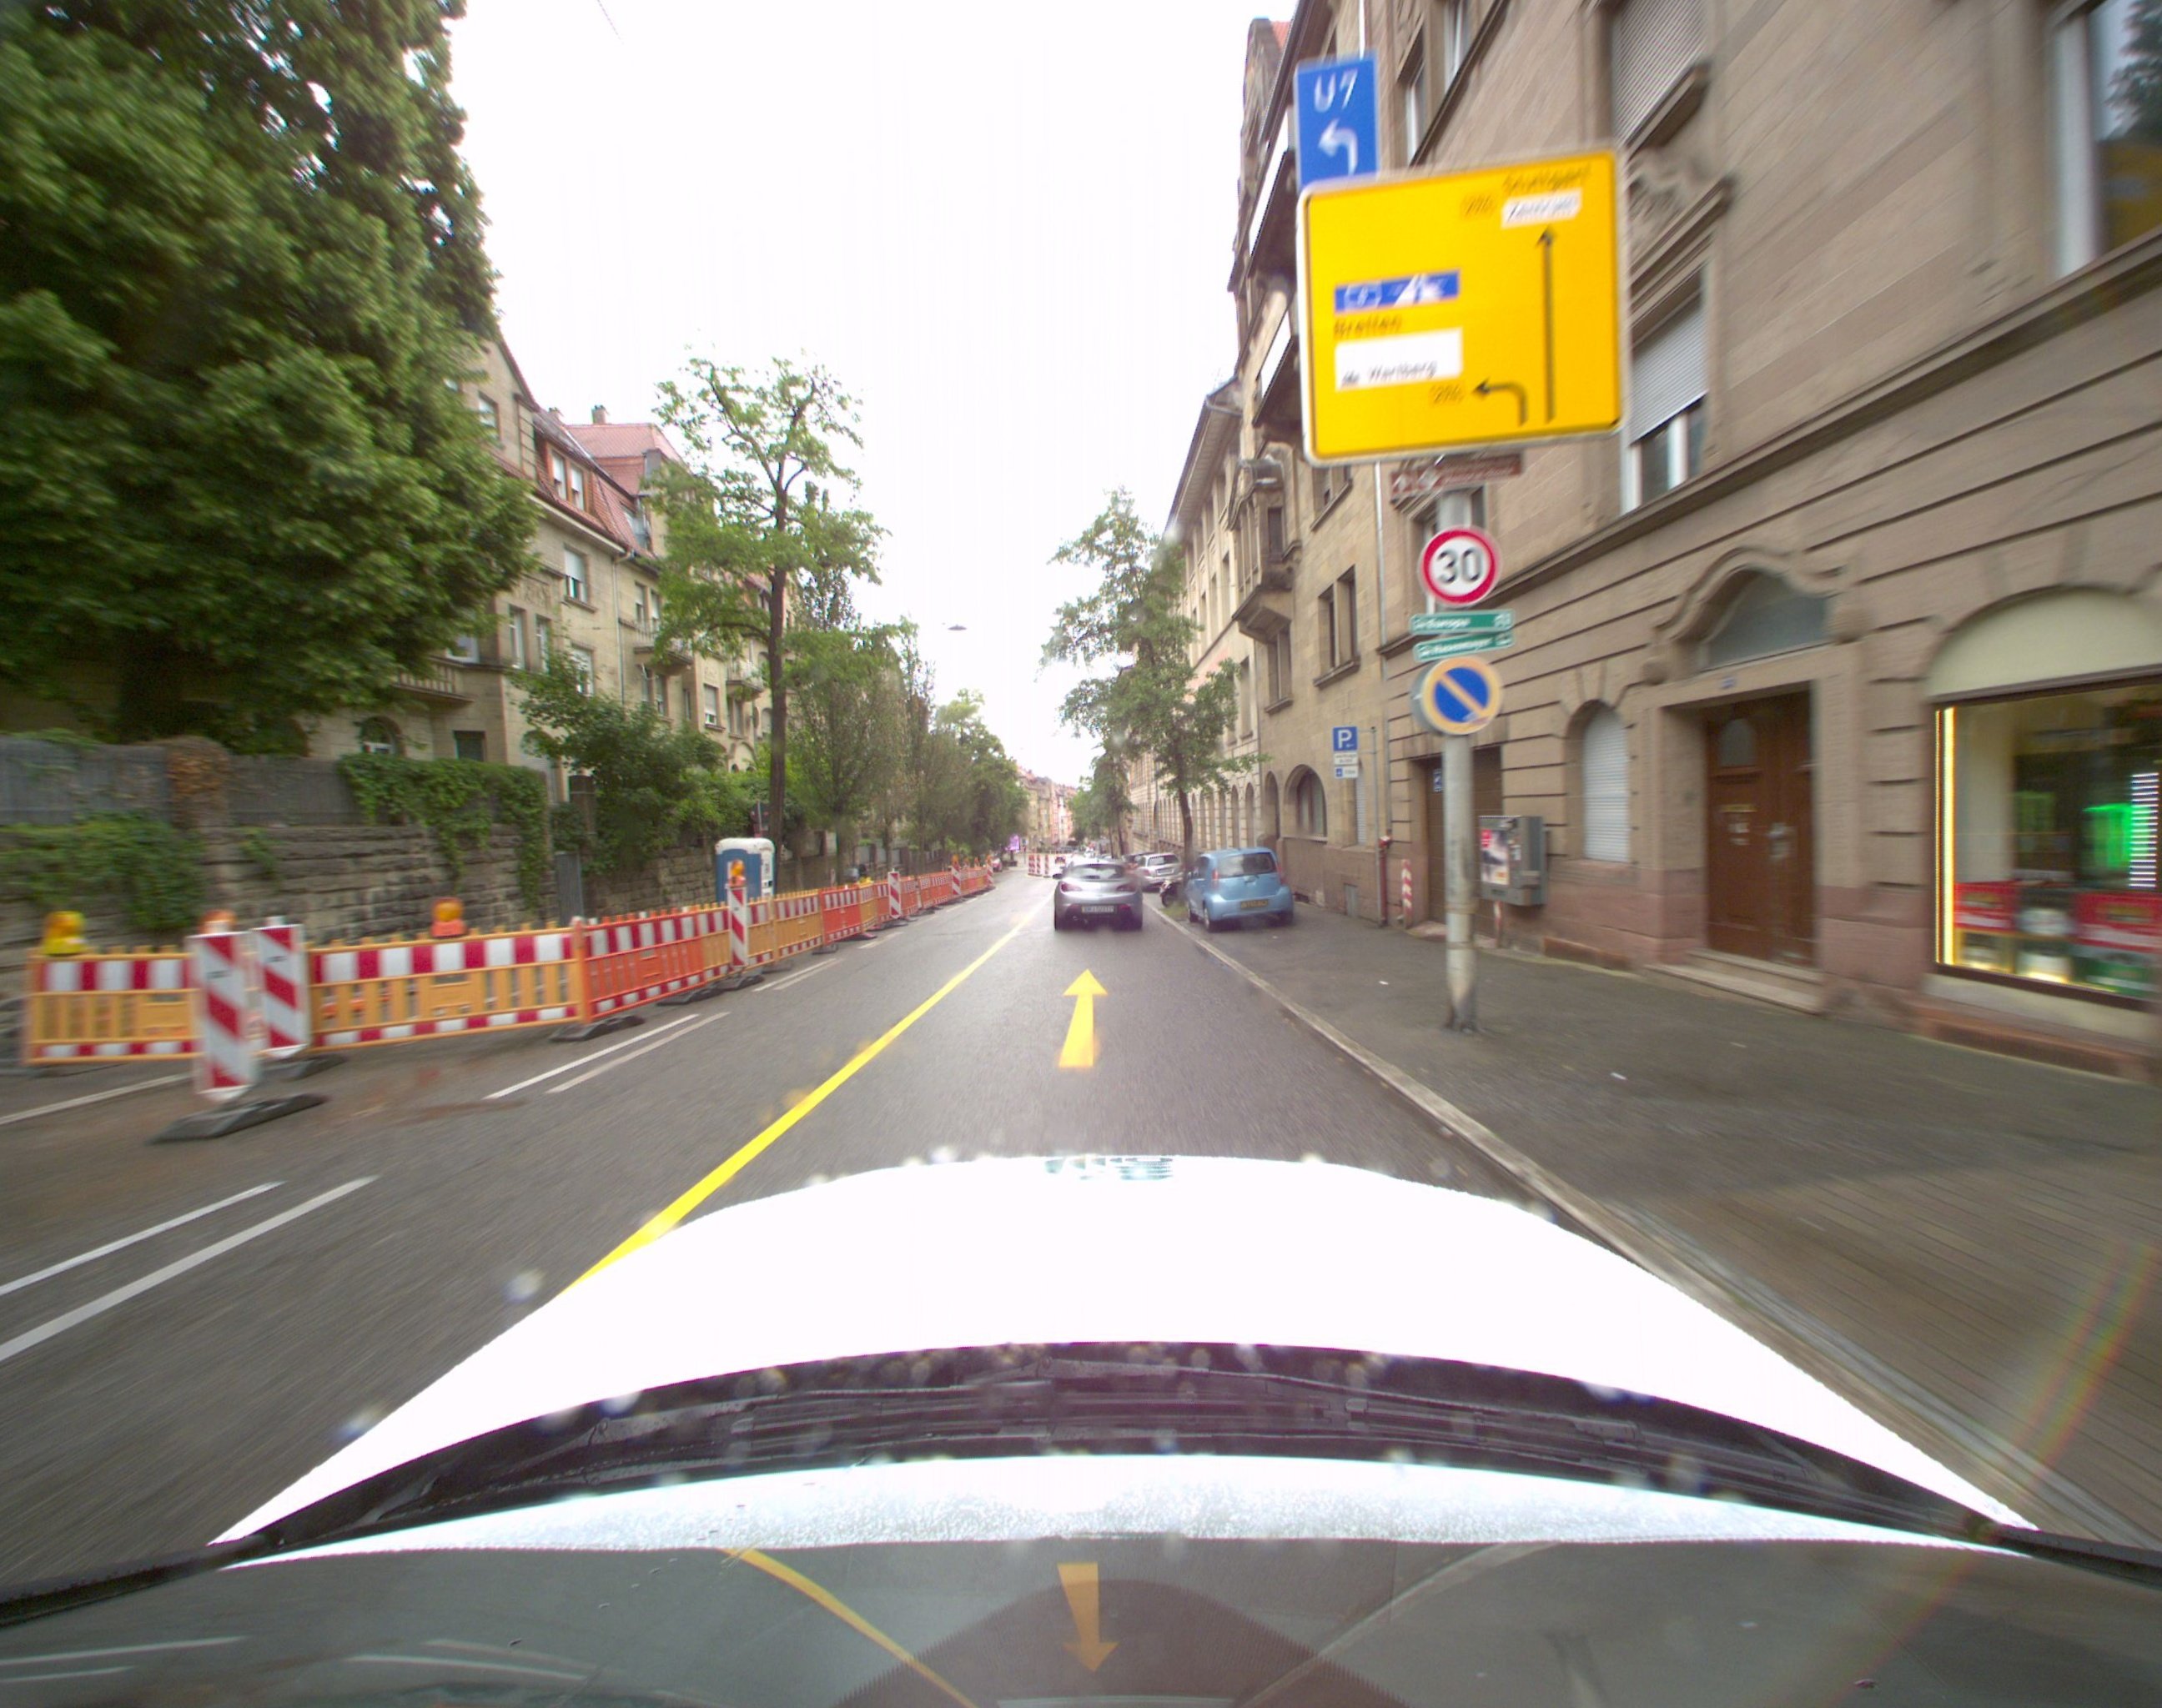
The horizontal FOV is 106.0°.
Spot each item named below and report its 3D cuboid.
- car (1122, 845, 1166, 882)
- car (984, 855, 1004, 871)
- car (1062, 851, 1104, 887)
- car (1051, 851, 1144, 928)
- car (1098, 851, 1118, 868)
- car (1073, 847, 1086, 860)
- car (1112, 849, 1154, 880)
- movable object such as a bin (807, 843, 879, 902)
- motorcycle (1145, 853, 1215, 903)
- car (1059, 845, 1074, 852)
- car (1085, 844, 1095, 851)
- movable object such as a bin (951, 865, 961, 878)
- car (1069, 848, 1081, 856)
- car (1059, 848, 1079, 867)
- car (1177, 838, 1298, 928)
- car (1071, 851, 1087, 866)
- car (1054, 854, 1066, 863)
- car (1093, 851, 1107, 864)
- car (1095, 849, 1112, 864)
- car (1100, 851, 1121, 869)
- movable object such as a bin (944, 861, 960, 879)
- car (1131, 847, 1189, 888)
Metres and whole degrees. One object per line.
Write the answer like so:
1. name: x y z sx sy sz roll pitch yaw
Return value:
1. car: 2.951 0.427 38.646 1.634 1.520 3.181 -5 0 -2
2. car: -9.107 0.927 85.217 1.632 1.439 4.079 -3 0 0
3. car: 0.090 0.631 36.661 1.766 1.504 3.868 -1 1 -1
4. car: 0.393 0.698 17.961 1.804 1.449 3.871 -1 1 2
5. car: 2.509 0.468 76.420 1.632 1.469 3.857 -3 0 0
6. car: -0.224 -0.040 122.298 1.710 1.782 3.663 -5 0 -1
7. car: 2.810 0.527 44.680 1.753 1.461 4.721 -5 0 -2
8. movable object such as a bin: -10.053 0.735 34.629 1.985 2.299 2.818 -3 1 3
9. motorcycle: 2.789 0.654 22.811 1.948 1.235 0.650 -5 2 -37
10. car: -3.933 -1.505 219.821 3.975 1.750 1.999 0 0 -1
11. car: 2.290 -1.600 208.171 1.981 1.684 4.011 0 0 10
12. movable object such as a bin: -8.817 1.255 57.517 0.602 0.907 0.624 0 0 0
13. car: -1.238 -0.358 171.649 1.981 1.684 4.011 0 0 10
14. car: -1.102 0.306 74.073 1.652 1.543 3.663 -4 0 -1
15. car: 3.121 0.532 16.915 1.652 1.543 3.664 -4 0 -1
16. car: -0.247 0.484 89.146 1.652 1.543 3.664 -4 0 -1
17. car: -3.582 0.784 137.632 1.989 1.500 3.996 -2 0 -3
18. car: 2.503 0.438 106.012 1.632 1.524 3.857 -3 0 0
19. car: 2.489 0.260 91.253 1.633 1.602 3.854 -3 0 -3
20. car: 2.571 0.480 71.270 1.632 1.429 3.375 -3 0 -1
21. movable object such as a bin: -8.978 1.115 56.562 0.941 1.214 0.856 0 0 0
22. car: 3.130 0.496 33.145 1.690 1.431 4.419 -5 0 -2
